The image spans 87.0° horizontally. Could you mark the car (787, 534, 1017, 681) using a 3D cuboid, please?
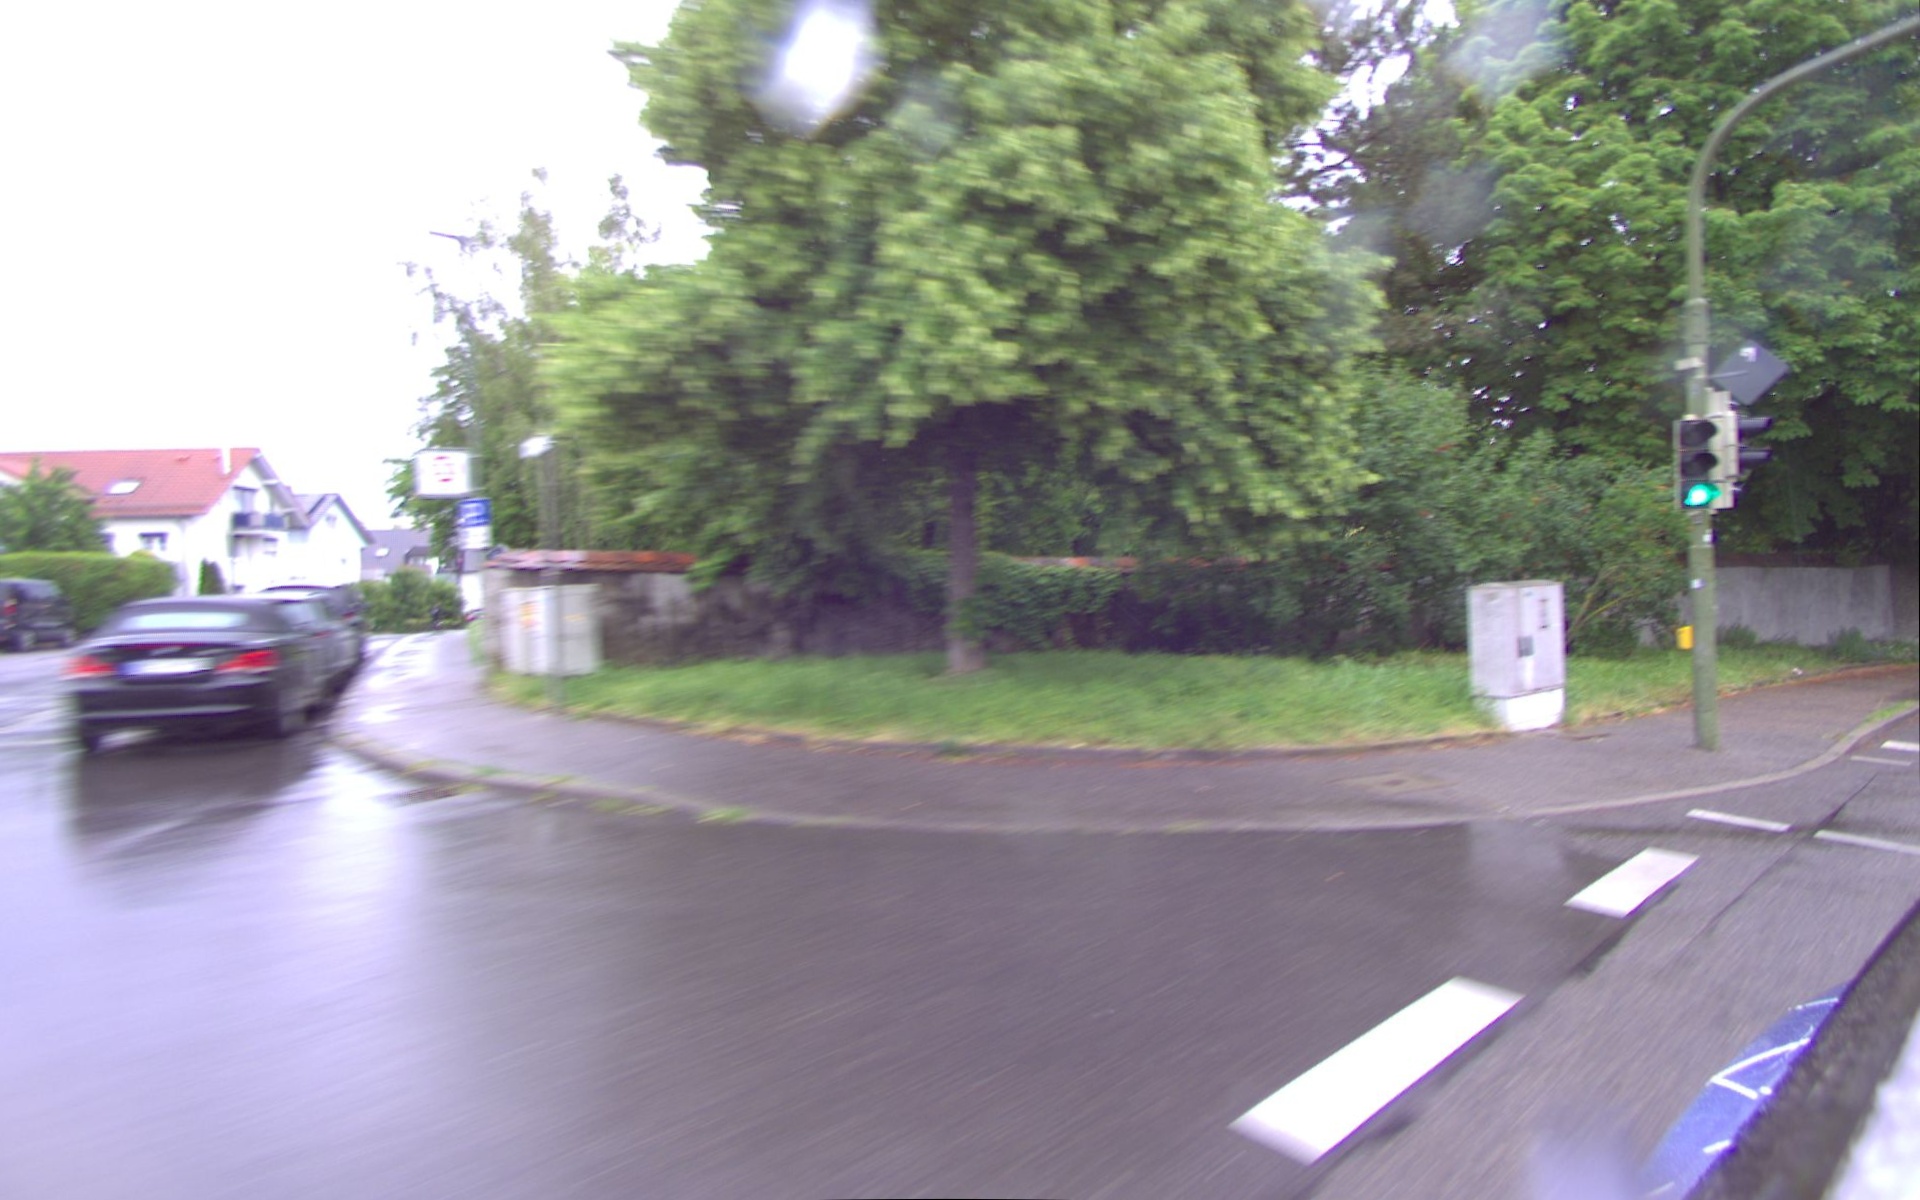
[{"bbox_3d":[-0.895,0.011,12.338,1.815,1.473,4.010,0,2,-18],"label":"car"}]

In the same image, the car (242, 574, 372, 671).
[{"bbox_3d":[-13.118,0.397,20.565,1.796,1.749,4.471,0,0,-27],"label":"car"}]

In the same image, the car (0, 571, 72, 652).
[{"bbox_3d":[-26.165,0.261,27.425,1.958,2.038,4.009,0,2,-23],"label":"car"}]

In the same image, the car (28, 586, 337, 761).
[{"bbox_3d":[-7.900,0.604,10.734,1.795,1.460,4.171,0,0,-26],"label":"car"}]

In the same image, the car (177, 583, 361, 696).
[{"bbox_3d":[-10.341,0.505,15.464,1.796,1.460,4.402,0,0,-27],"label":"car"}]
